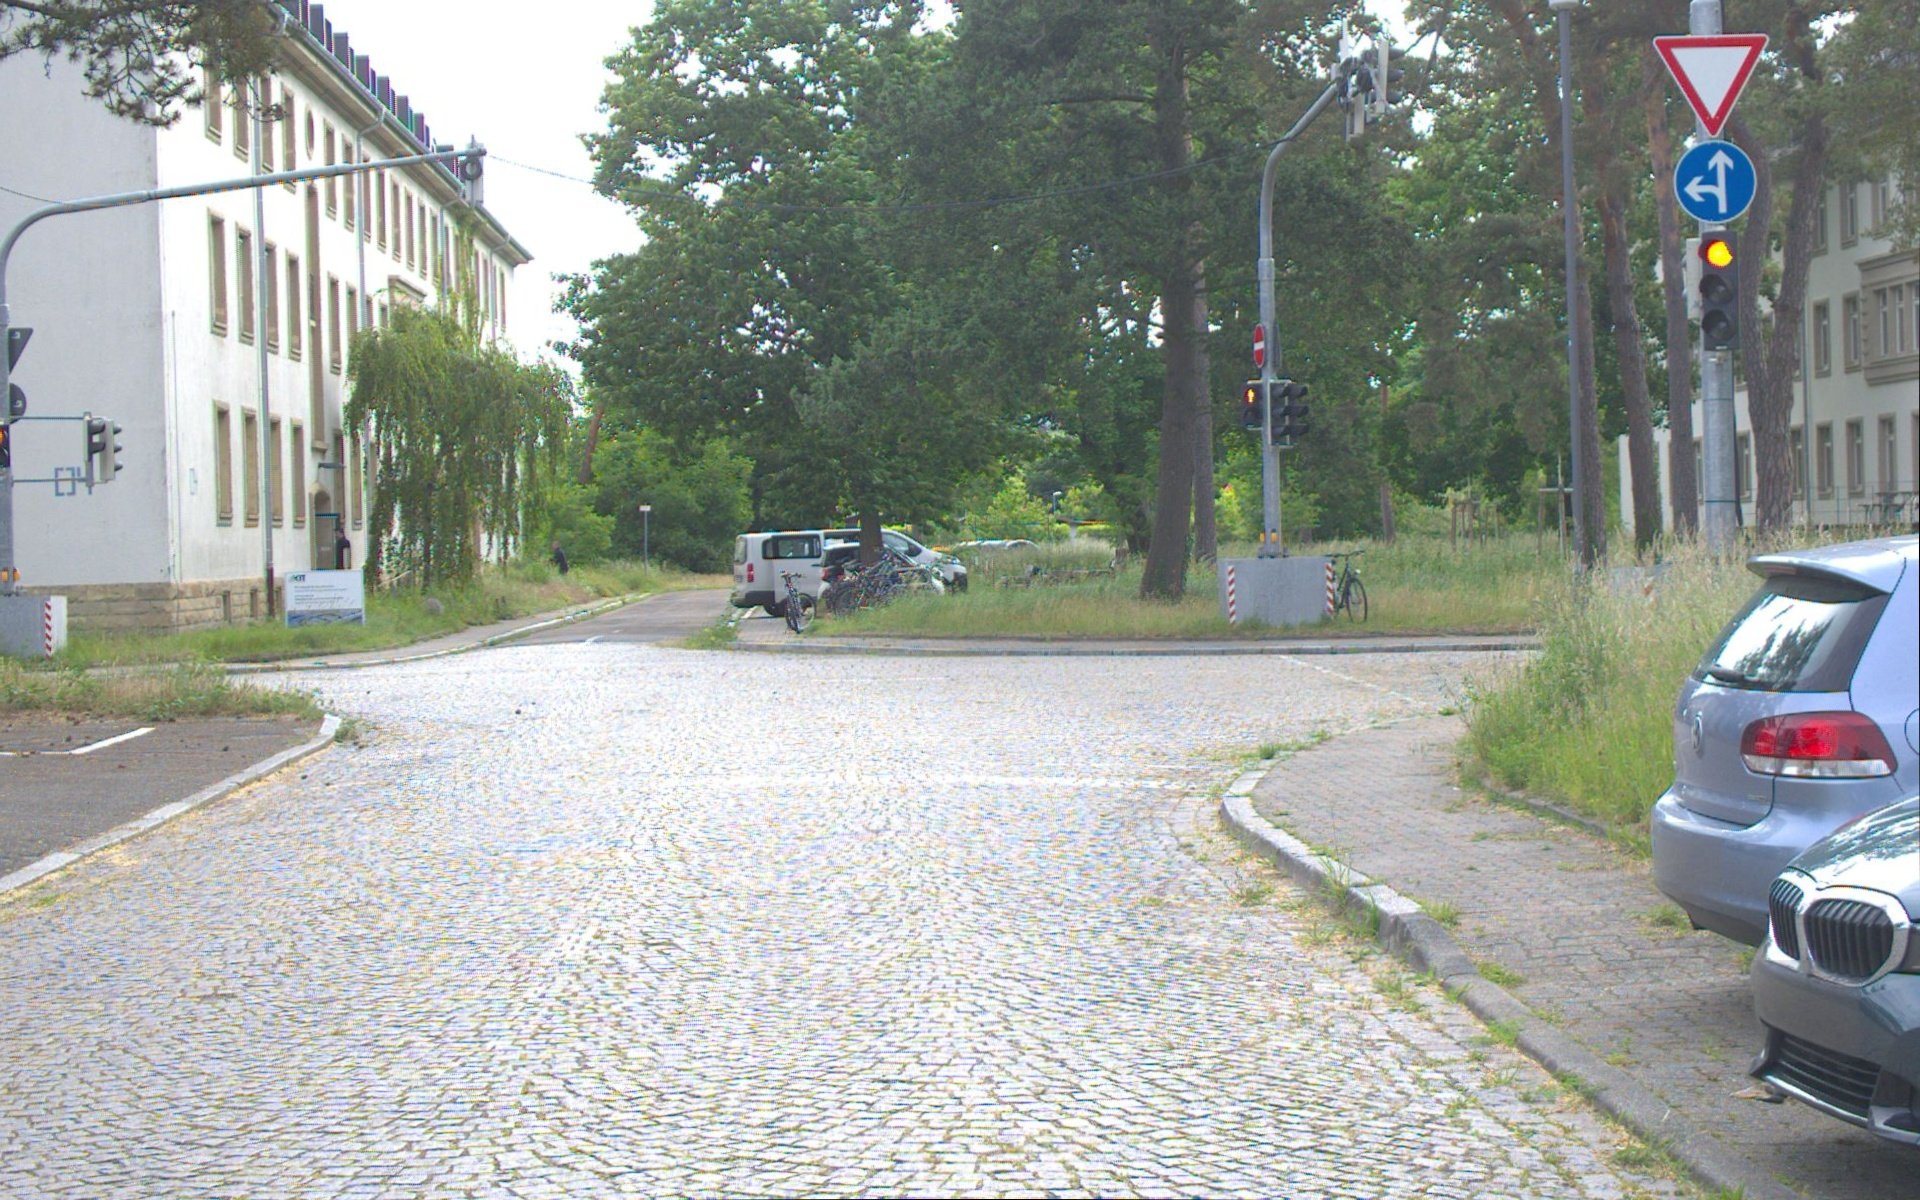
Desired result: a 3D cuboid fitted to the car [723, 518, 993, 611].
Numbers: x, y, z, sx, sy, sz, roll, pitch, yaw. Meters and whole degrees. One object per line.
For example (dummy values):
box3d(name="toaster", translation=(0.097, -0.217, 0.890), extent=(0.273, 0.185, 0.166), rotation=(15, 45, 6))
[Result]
box3d(name="car", translation=(-2.307, -0.806, 77.395), extent=(5.690, 1.904, 2.231), rotation=(-2, 1, -14))

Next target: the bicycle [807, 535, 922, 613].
box3d(name="bicycle", translation=(-1.754, -0.476, 63.144), extent=(2.069, 1.373, 0.620), rotation=(-1, 1, -1))

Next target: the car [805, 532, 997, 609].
box3d(name="car", translation=(-1.291, -0.638, 74.050), extent=(3.931, 1.539, 2.000), rotation=(-2, 1, -6))

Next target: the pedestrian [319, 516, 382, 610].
box3d(name="pedestrian", translation=(-13.243, -0.817, 74.746), extent=(1.087, 2.007, 1.021), rotation=(-1, 1, 4))

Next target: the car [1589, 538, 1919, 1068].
box3d(name="car", translation=(3.994, 0.491, 10.492), extent=(3.763, 1.421, 1.606), rotation=(-3, 2, -2))

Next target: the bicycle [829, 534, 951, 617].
box3d(name="bicycle", translation=(-1.208, -0.434, 59.526), extent=(2.069, 1.373, 0.620), rotation=(-1, 1, -1))

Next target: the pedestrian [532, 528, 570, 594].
box3d(name="pedestrian", translation=(-12.692, -1.212, 106.635), extent=(0.959, 2.007, 0.795), rotation=(-1, 1, 8))

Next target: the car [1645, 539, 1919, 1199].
box3d(name="car", translation=(4.178, 0.553, 7.934), extent=(4.756, 1.477, 1.762), rotation=(-2, 1, -5))

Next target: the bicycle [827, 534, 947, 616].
box3d(name="bicycle", translation=(-1.276, -0.442, 60.196), extent=(2.069, 1.373, 0.620), rotation=(-1, 1, -1))

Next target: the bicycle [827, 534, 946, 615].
box3d(name="bicycle", translation=(-1.302, -0.448, 60.820), extent=(2.069, 1.373, 0.620), rotation=(-1, 1, -1))

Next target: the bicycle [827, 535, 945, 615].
box3d(name="bicycle", translation=(-1.319, -0.454, 61.485), extent=(2.069, 1.373, 0.620), rotation=(-1, 1, -1))

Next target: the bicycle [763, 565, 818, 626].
box3d(name="bicycle", translation=(-2.834, -0.087, 57.695), extent=(0.618, 0.960, 2.076), rotation=(-1, 1, 5))

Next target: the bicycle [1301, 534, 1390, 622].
box3d(name="bicycle", translation=(5.309, -0.314, 47.406), extent=(0.908, 1.173, 1.874), rotation=(-2, 1, -3))

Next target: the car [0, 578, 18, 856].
box3d(name="car", translation=(-7.253, 0.589, 17.188), extent=(4.646, 1.439, 1.802), rotation=(1, 1, -5))
